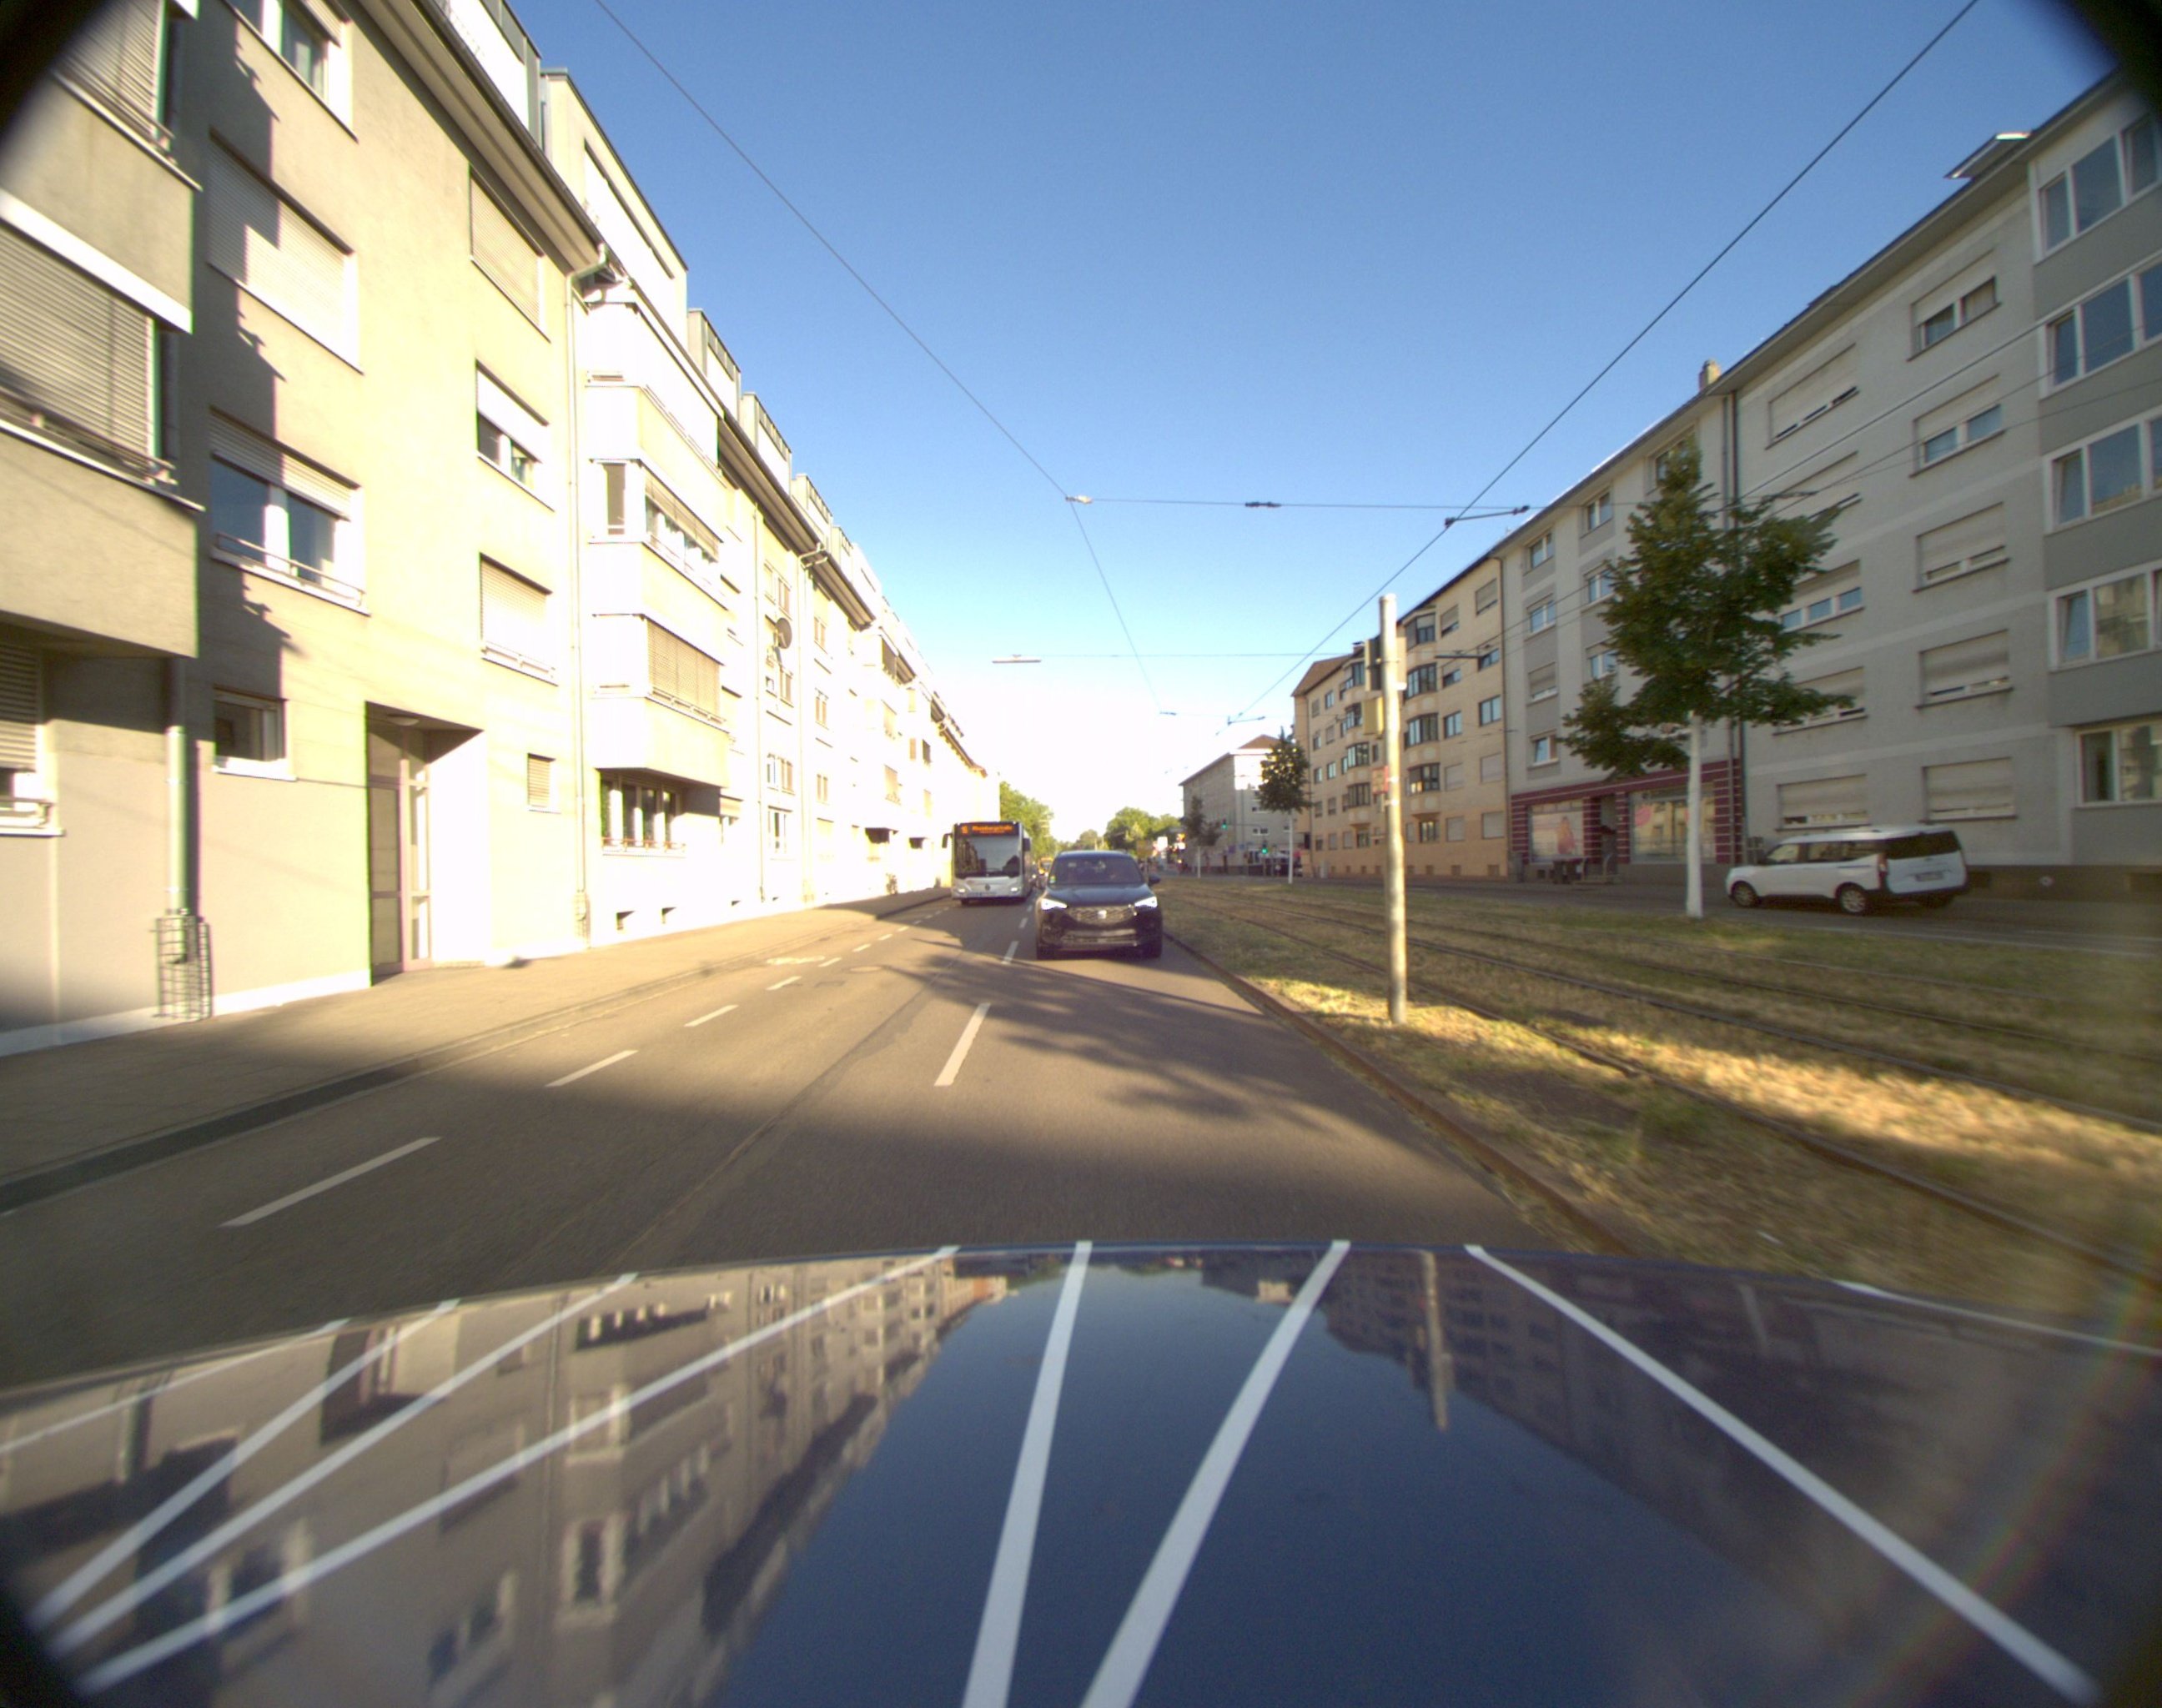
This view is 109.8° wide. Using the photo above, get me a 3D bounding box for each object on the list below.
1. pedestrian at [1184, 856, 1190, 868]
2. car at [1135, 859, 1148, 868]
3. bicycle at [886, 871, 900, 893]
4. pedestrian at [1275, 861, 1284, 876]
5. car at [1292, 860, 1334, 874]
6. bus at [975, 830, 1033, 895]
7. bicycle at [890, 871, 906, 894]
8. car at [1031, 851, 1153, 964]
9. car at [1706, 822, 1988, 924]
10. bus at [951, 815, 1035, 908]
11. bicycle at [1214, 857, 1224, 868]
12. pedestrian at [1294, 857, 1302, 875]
[{"bbox_3d":[15.933,1.235,114.303,0.742,1.730,1.226,-1,0,-2],"label":"pedestrian"},{"bbox_3d":[11.253,1.707,141.225,1.922,1.581,4.469,-1,-1,-2],"label":"car"},{"bbox_3d":[-9.011,1.331,36.469,0.279,0.965,1.730,2,-1,-3],"label":"bicycle"},{"bbox_3d":[19.902,1.412,76.156,0.624,1.481,0.582,-2,1,-2],"label":"pedestrian"},{"bbox_3d":[25.939,1.459,85.013,3.999,1.499,1.999,-1,0,-6],"label":"car"},{"bbox_3d":[-4.037,0.469,41.594,2.713,3.059,10.597,-2,0,-4],"label":"bus"},{"bbox_3d":[-8.610,1.322,35.743,0.360,1.026,1.730,2,-1,-3],"label":"bicycle"},{"bbox_3d":[0.174,0.799,13.642,1.788,1.615,4.215,-2,1,0],"label":"car"},{"bbox_3d":[17.310,0.395,17.581,1.871,1.818,4.422,-8,0,1],"label":"car"},{"bbox_3d":[-3.321,0.307,30.995,2.732,3.059,10.597,-2,0,-4],"label":"bus"},{"bbox_3d":[18.607,1.138,102.146,0.579,1.370,3.236,-1,0,-3],"label":"bicycle"},{"bbox_3d":[21.303,1.169,74.727,0.634,1.760,0.826,-1,0,23],"label":"pedestrian"}]
